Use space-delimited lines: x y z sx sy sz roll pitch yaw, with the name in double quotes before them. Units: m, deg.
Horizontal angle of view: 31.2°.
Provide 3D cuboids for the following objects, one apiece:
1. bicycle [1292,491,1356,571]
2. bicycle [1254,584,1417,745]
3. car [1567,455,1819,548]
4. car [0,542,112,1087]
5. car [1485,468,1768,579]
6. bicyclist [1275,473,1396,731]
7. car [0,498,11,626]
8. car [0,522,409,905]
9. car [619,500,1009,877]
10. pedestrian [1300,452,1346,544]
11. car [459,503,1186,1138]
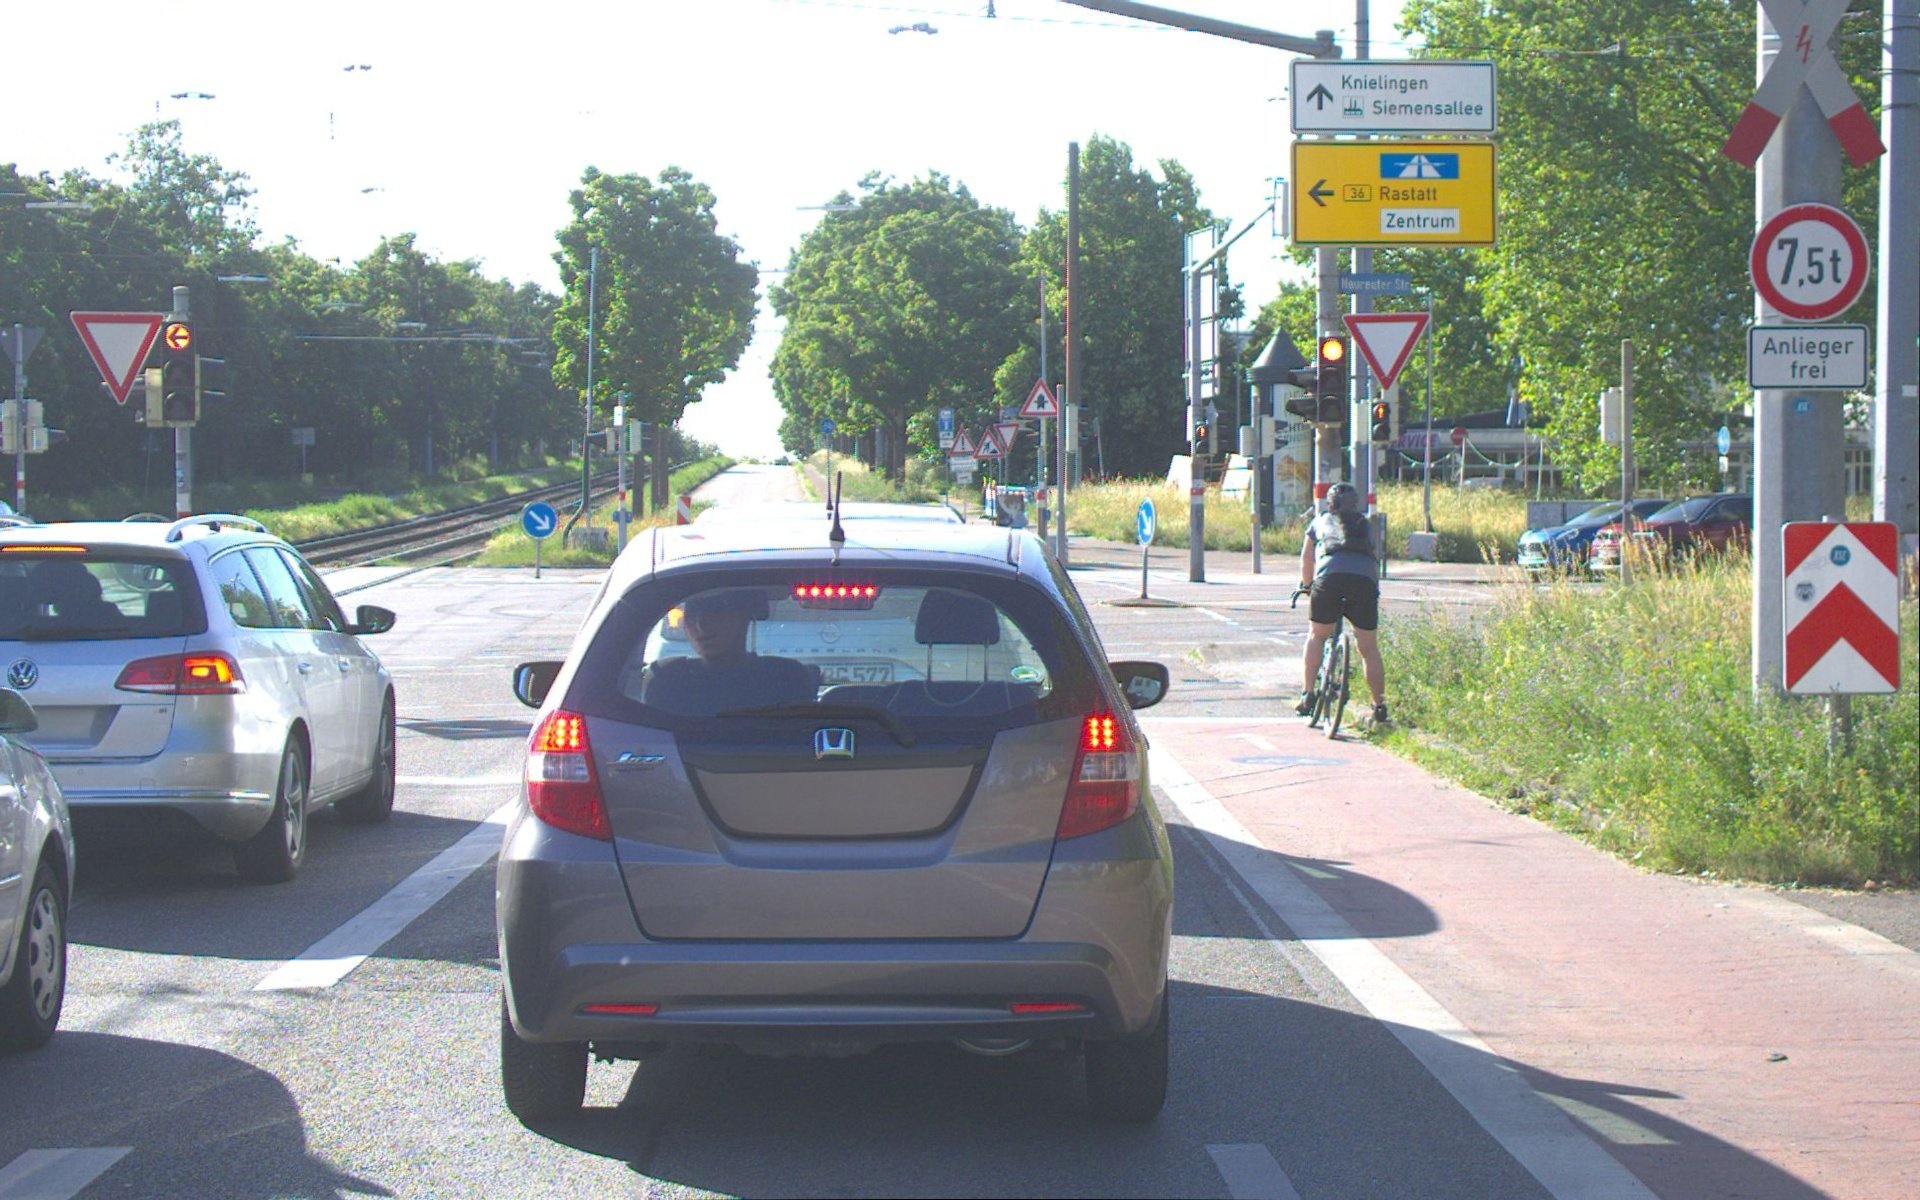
"bicycle" 7.342 -1.395 69.210 0.819 1.569 3.213 0 2 14
"bicycle" 2.544 0.408 23.587 0.722 0.985 2.876 1 1 -1
"car" 12.452 -1.689 58.430 3.986 1.525 1.606 -1 2 -23
"car" -3.300 0.573 8.498 1.619 1.413 3.351 -1 1 -1
"car" 12.112 -1.376 62.463 4.686 1.873 2.001 1 1 -23
"bicyclist" 2.556 0.005 23.500 0.666 1.710 0.948 1 1 -1
"car" -12.175 -0.372 36.346 1.607 1.398 4.008 1 2 35
"car" -3.539 0.394 15.165 1.619 1.452 4.085 1 1 -1
"car" -0.644 0.315 16.338 1.611 1.557 4.288 0 1 -1
"pedestrian" 7.295 -2.052 69.065 0.789 1.830 0.854 0 1 16
"car" -0.401 0.463 9.703 1.668 1.457 3.587 0 1 -3
